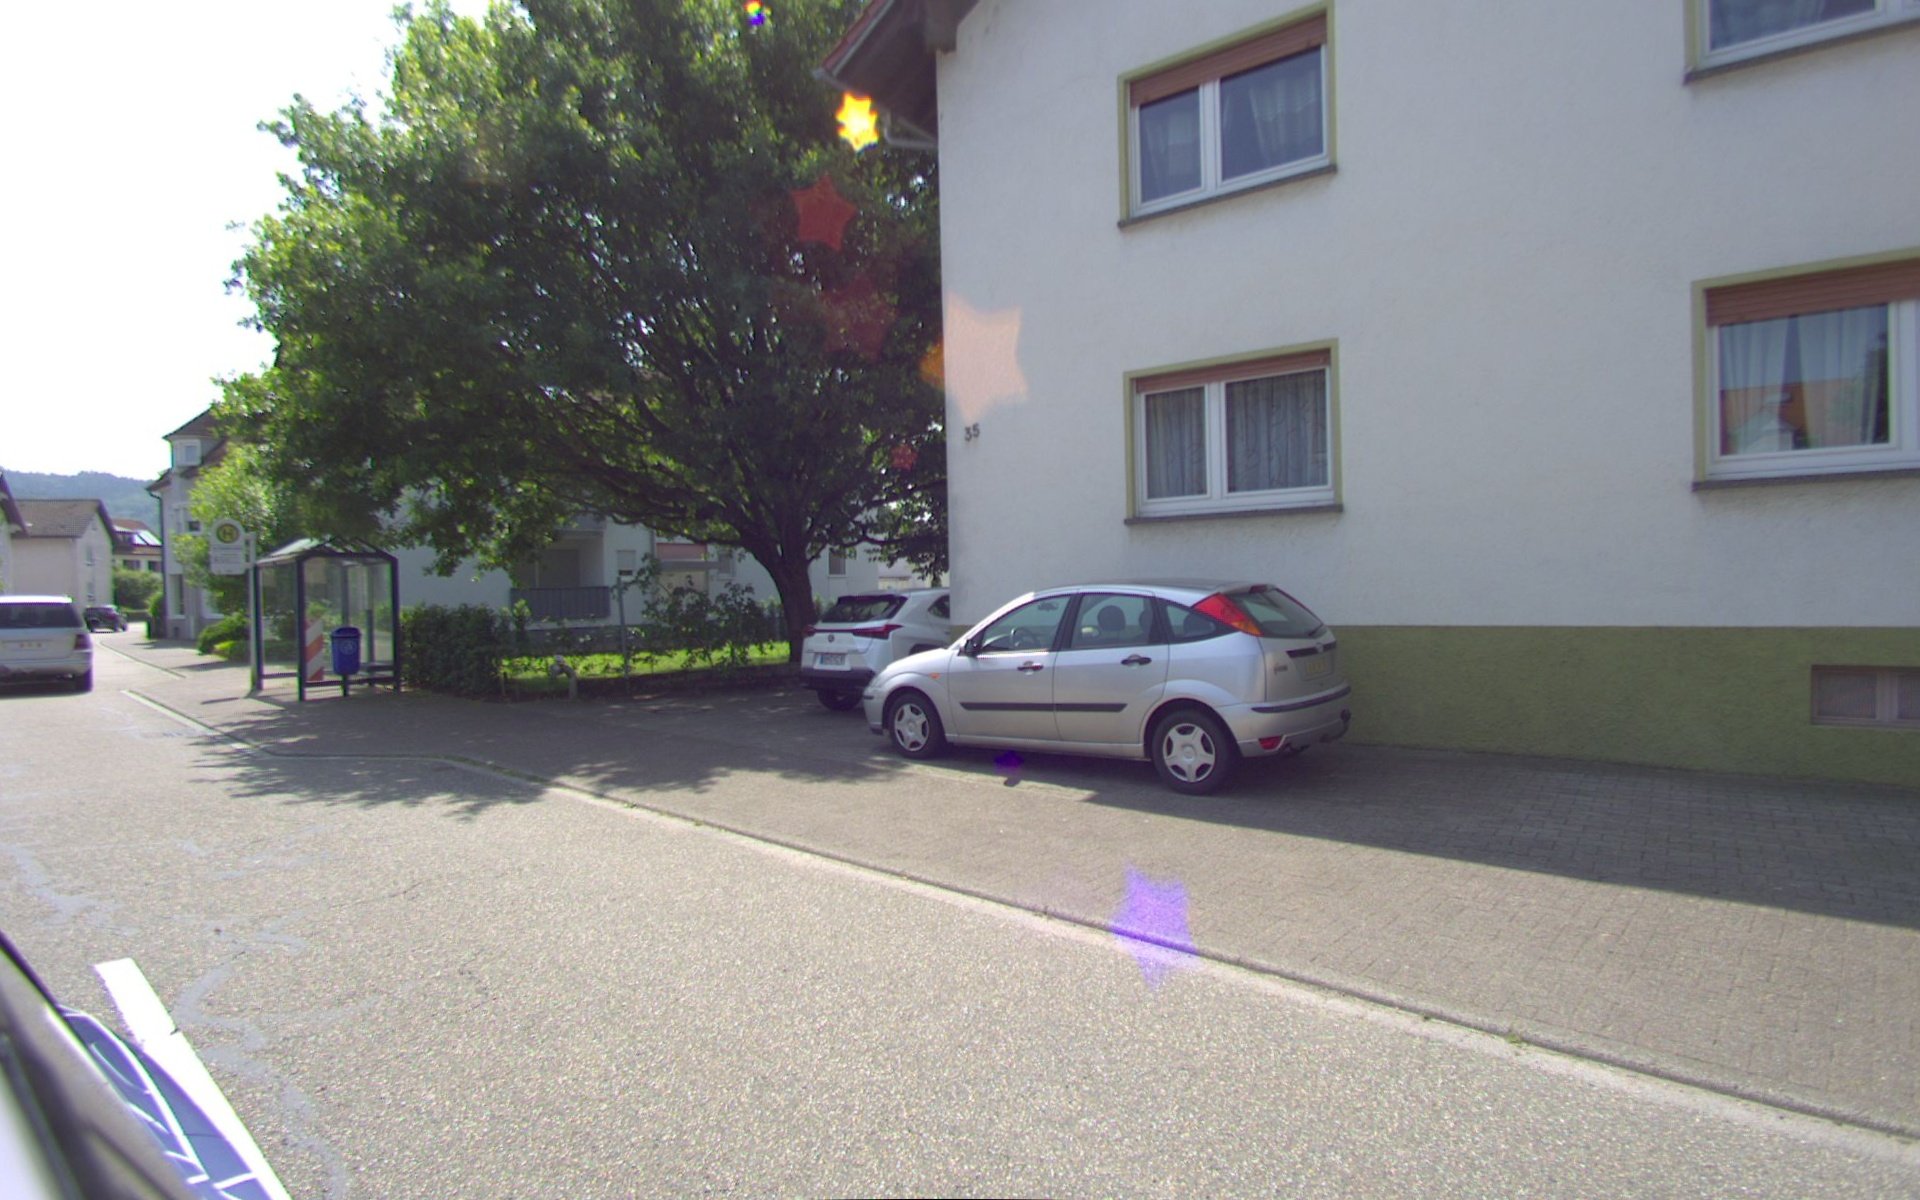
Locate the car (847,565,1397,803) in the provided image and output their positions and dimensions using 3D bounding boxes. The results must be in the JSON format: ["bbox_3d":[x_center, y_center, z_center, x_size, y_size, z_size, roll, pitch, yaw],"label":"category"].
[{"bbox_3d":[1.130,0.530,8.171,4.053,1.445,1.760,-2,1,41],"label":"car"}]

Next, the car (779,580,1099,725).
[{"bbox_3d":[-0.121,0.585,12.965,1.773,1.550,4.115,-2,-1,42],"label":"car"}]

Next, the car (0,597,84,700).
[{"bbox_3d":[-17.924,0.852,19.173,1.863,1.780,4.335,0,-1,-43],"label":"car"}]
